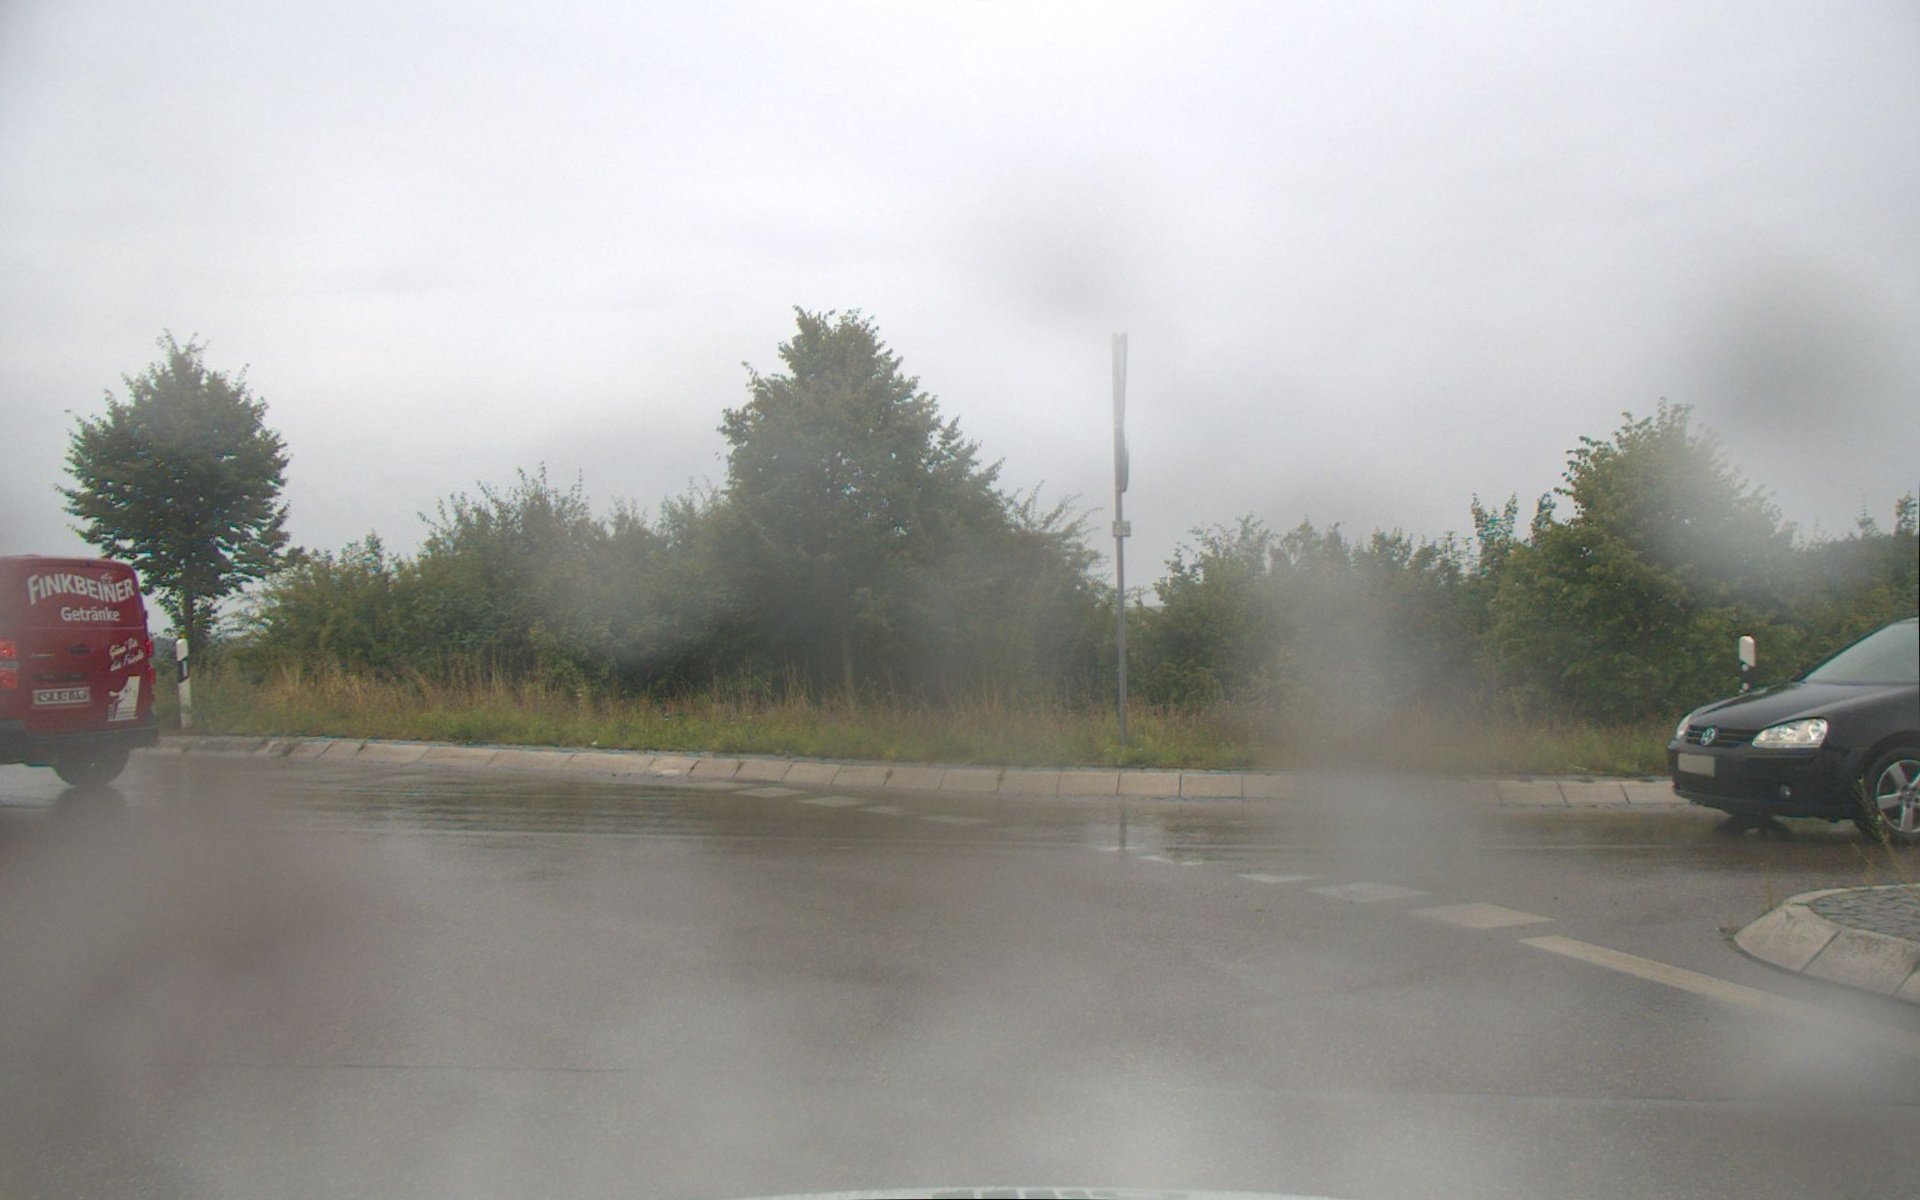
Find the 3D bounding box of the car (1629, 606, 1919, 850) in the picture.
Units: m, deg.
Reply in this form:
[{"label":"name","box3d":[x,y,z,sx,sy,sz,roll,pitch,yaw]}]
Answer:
[{"label":"car","box3d":[7.051,0.776,11.143,4.405,1.446,1.871,0,0,-9]}]

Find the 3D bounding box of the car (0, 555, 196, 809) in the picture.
[{"label":"car","box3d":[-9.220,0.640,13.848,4.856,1.903,2.002,-1,0,11]}]
